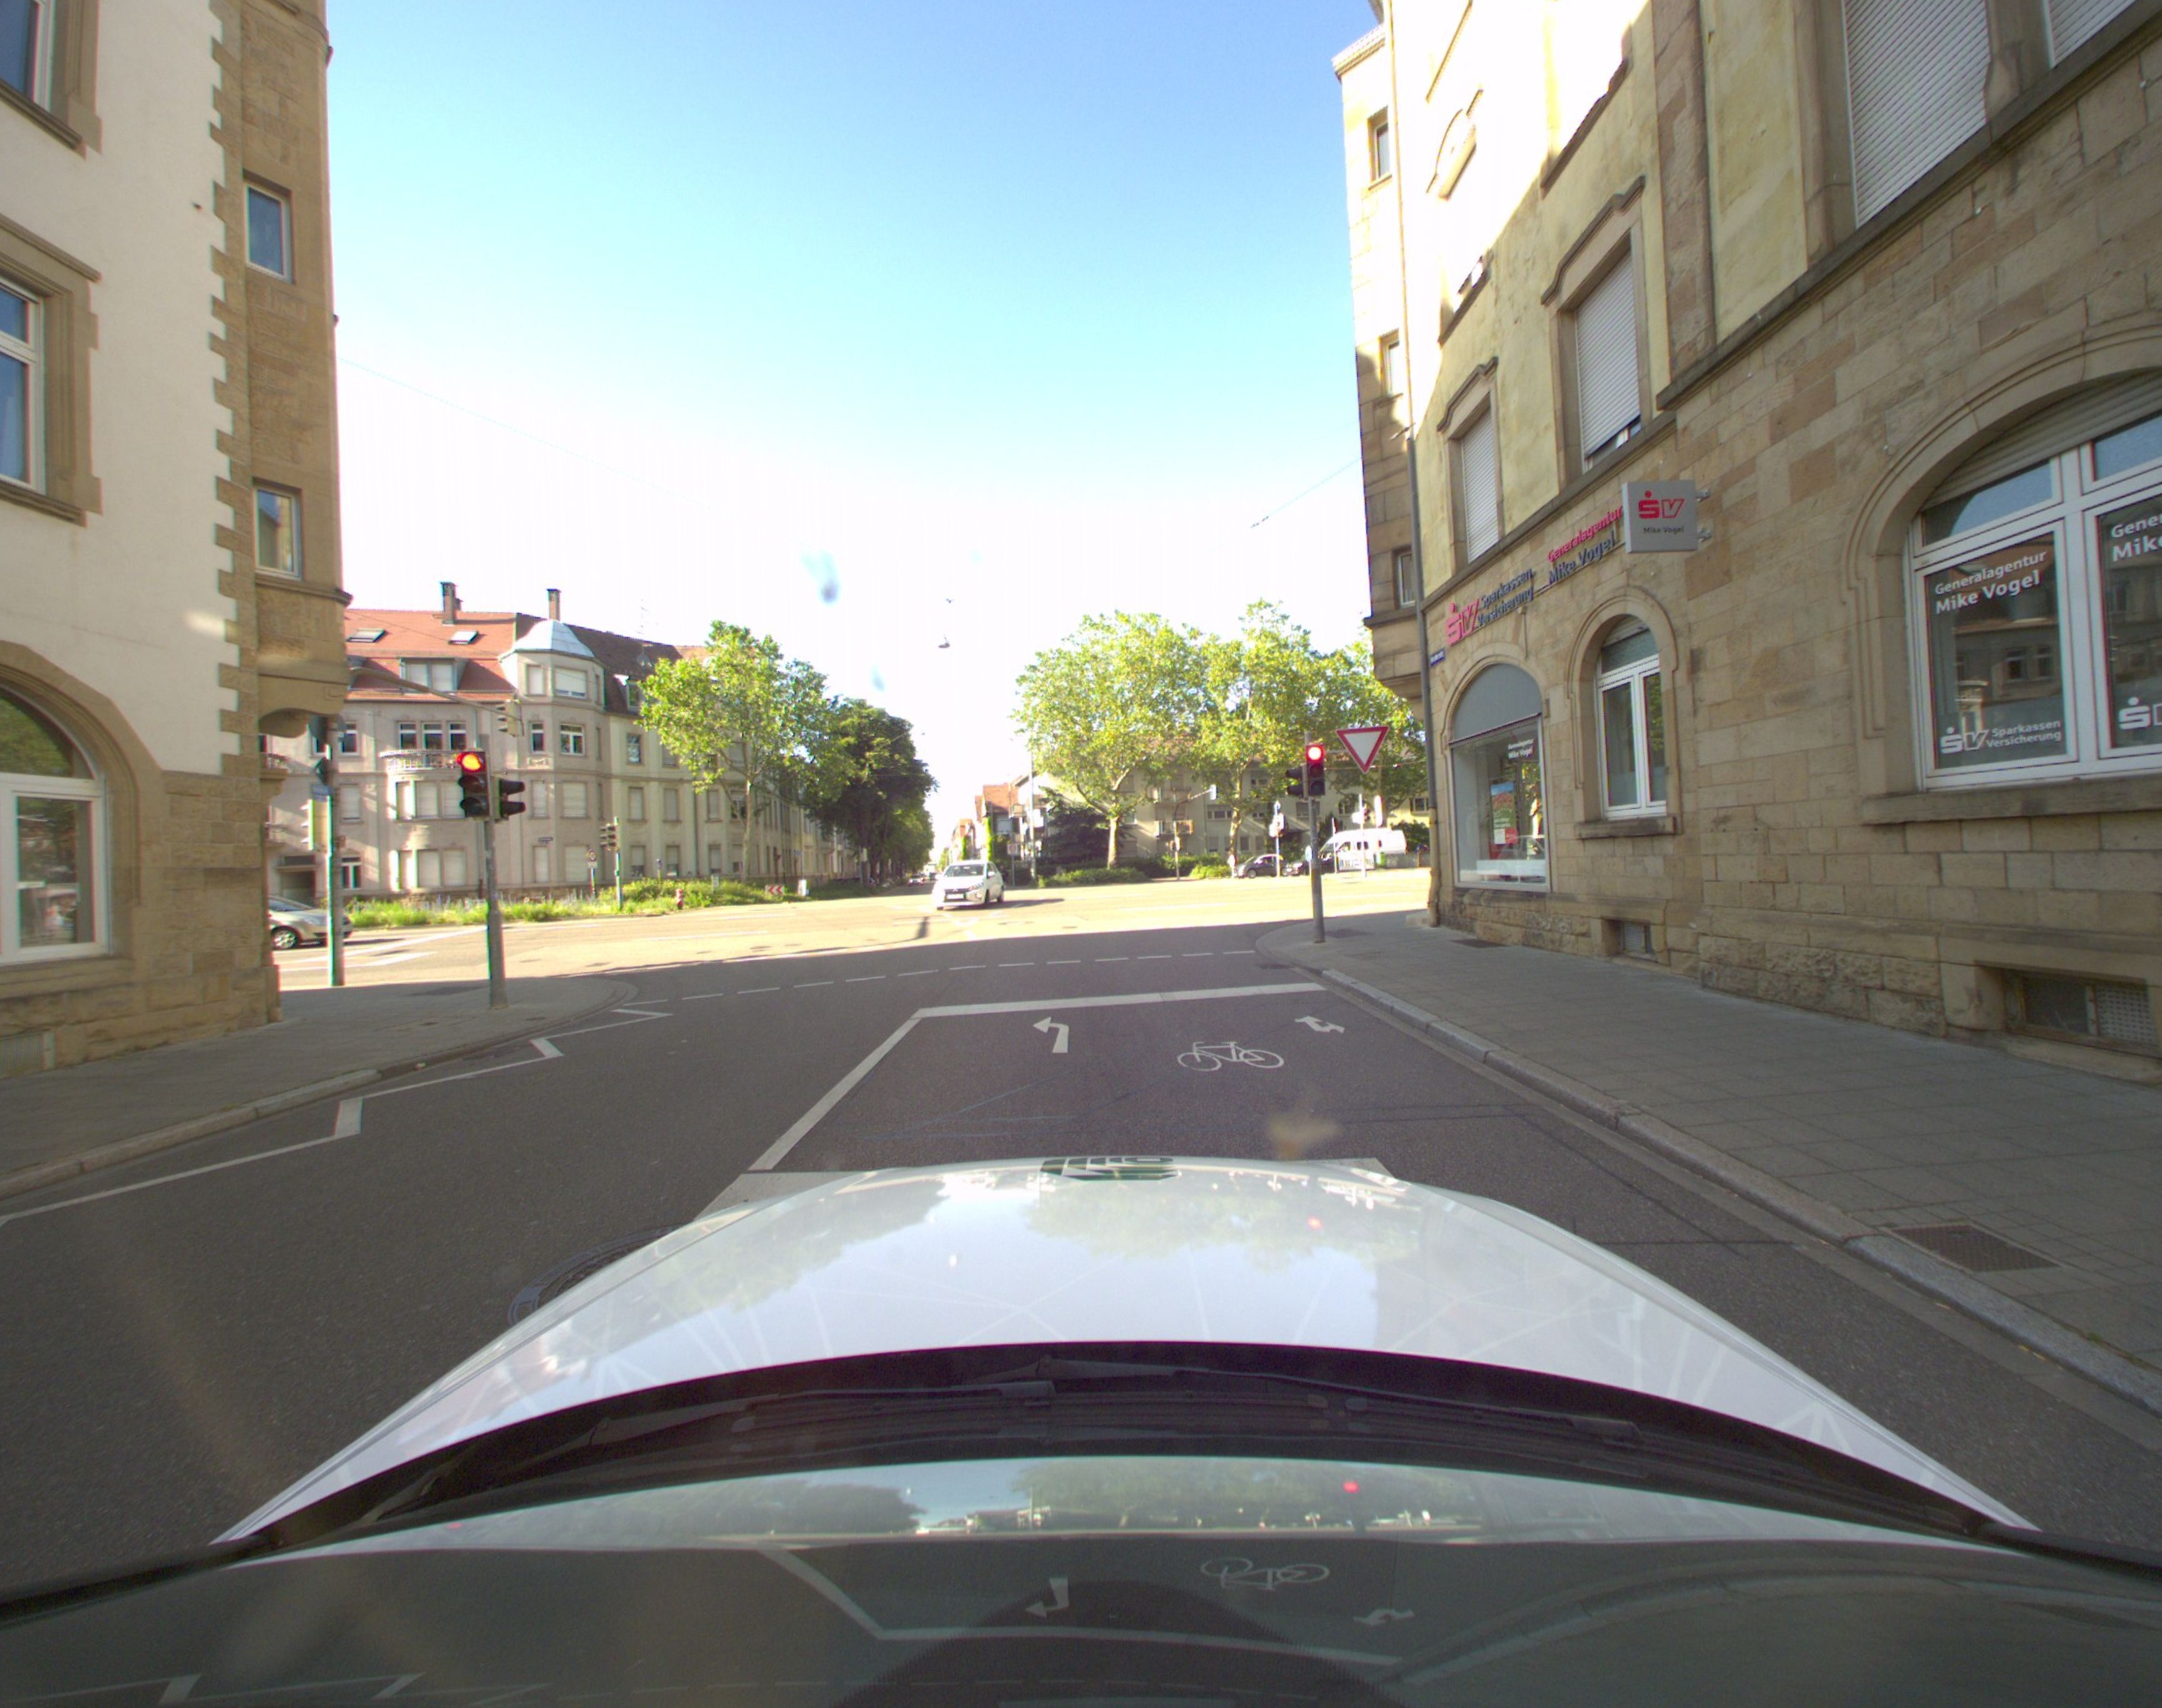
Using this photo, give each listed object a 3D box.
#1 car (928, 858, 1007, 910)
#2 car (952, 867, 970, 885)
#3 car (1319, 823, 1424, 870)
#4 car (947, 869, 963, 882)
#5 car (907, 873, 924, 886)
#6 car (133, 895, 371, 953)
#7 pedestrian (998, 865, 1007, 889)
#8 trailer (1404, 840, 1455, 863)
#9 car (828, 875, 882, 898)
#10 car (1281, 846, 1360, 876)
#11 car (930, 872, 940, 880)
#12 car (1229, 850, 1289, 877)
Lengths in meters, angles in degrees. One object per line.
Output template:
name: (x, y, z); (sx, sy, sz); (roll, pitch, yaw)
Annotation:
car: (-3.611, 0.920, 26.539); (1.616, 1.472, 3.806); (-3, 0, 6)
car: (-14.049, 2.556, 95.405); (1.992, 2.013, 3.989); (-3, 0, -8)
car: (18.003, -0.479, 50.545); (6.054, 2.568, 1.989); (-3, 0, -17)
car: (-19.551, 3.311, 126.045); (1.996, 1.833, 3.980); (-1, -1, -14)
car: (-21.087, 3.273, 103.689); (1.995, 1.445, 3.983); (-3, 0, -12)
car: (-21.722, 1.808, 21.557); (3.995, 1.319, 1.812); (0, -1, -16)
pedestrian: (-5.839, 1.740, 60.514); (0.631, 1.750, 0.658); (-2, -1, -2)
trailer: (22.200, -0.135, 51.902); (2.747, 1.311, 1.263); (-3, 0, -17)
car: (-17.904, 2.542, 64.528); (3.997, 1.486, 1.672); (-3, 0, -17)
car: (13.532, 0.375, 46.067); (3.996, 1.451, 1.650); (-3, 0, -16)
car: (-28.052, 4.280, 156.356); (1.673, 1.483, 3.511); (-2, -1, -8)
car: (11.310, 0.595, 51.767); (3.391, 1.487, 1.515); (-3, 0, -20)
